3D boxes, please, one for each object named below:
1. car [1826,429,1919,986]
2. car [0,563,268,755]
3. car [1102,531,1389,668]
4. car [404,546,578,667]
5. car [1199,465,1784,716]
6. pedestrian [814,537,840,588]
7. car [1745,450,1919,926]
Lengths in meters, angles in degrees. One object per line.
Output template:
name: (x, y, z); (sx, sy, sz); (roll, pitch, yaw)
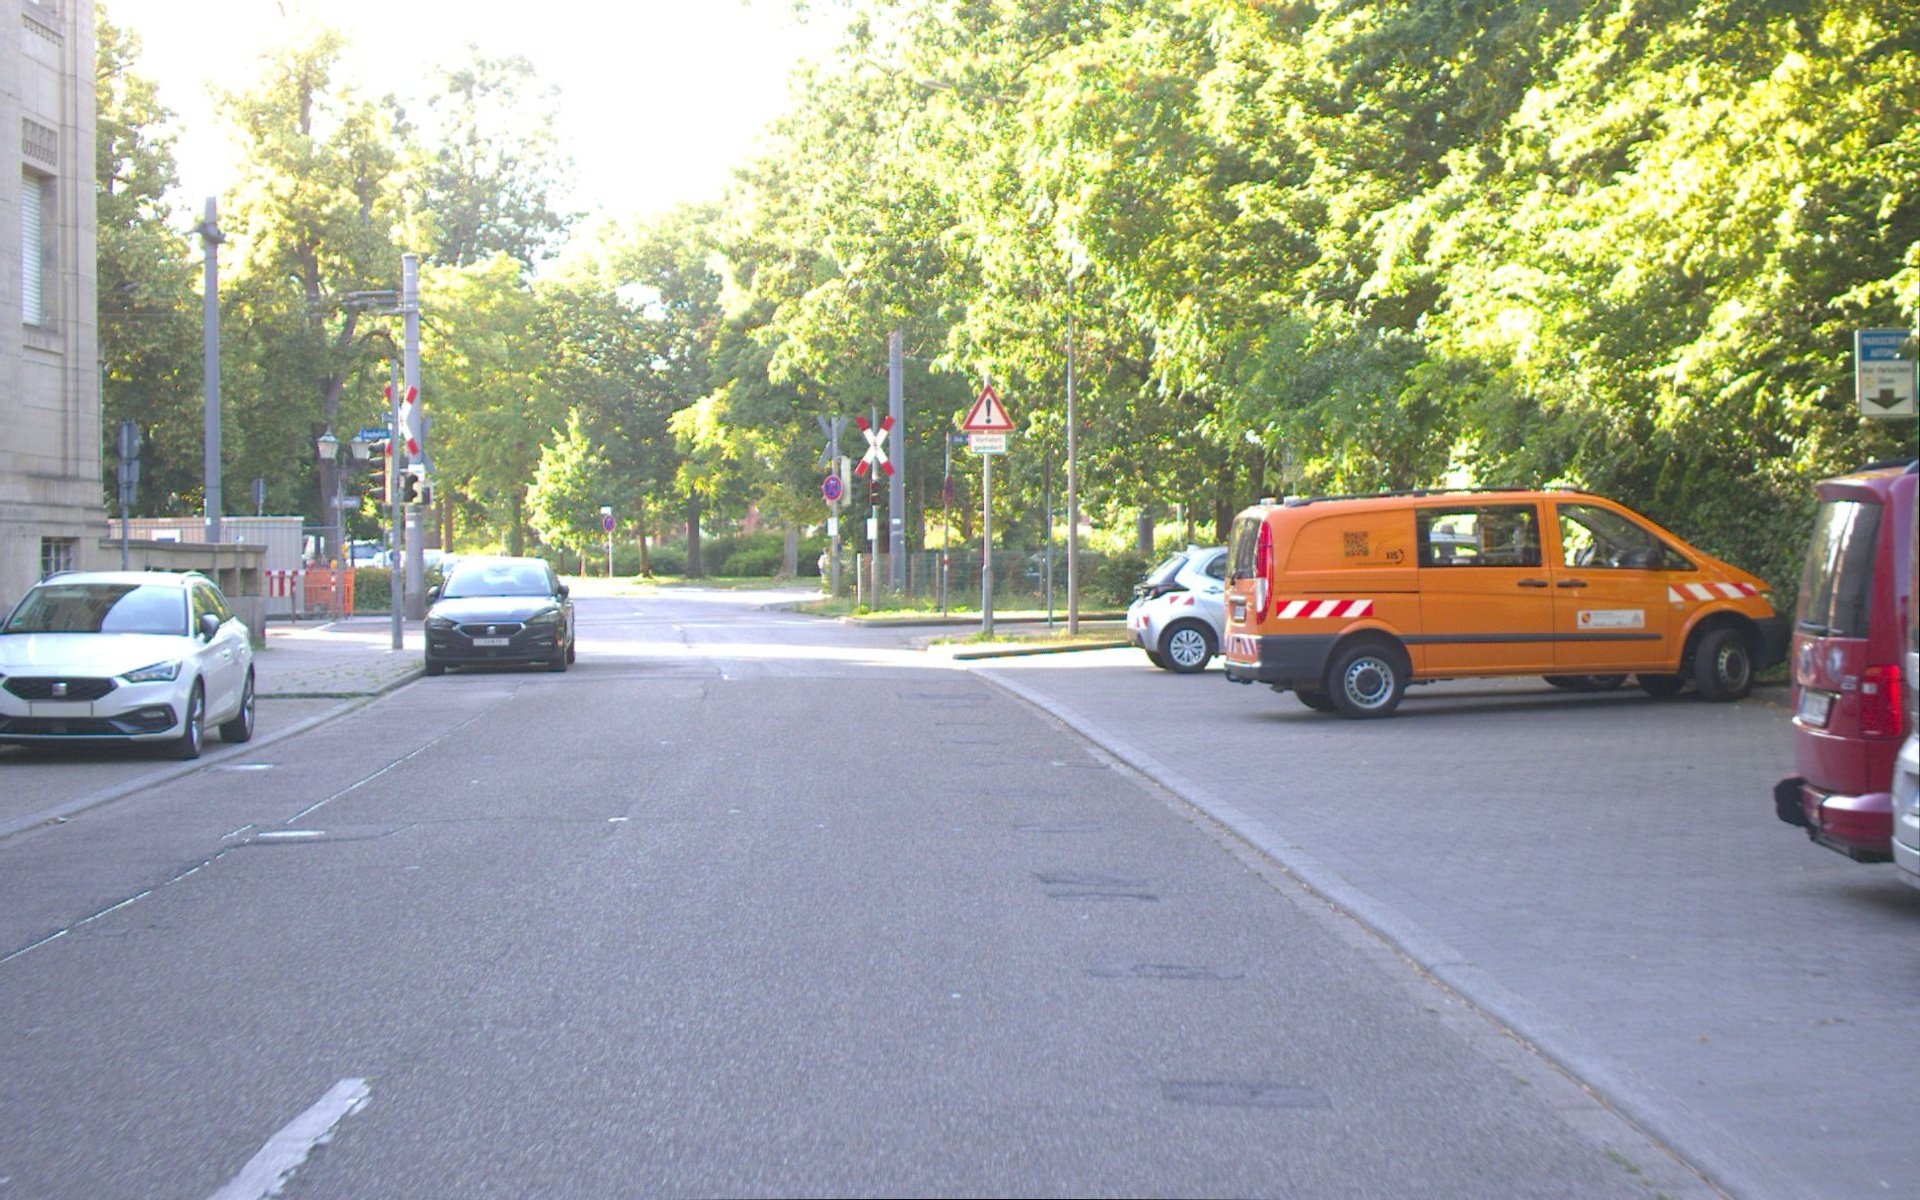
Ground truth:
car: (5.293, 0.299, 11.547); (4.229, 1.853, 2.000); (-2, 0, 1)
car: (-6.758, 0.414, 27.630); (1.727, 1.392, 4.374); (0, 1, -3)
car: (3.415, -0.025, 41.387); (3.143, 1.498, 1.541); (-2, 1, -6)
car: (-6.033, 0.043, 44.655); (1.878, 1.461, 4.374); (0, 1, -3)
car: (4.724, -0.107, 30.876); (4.817, 2.007, 1.802); (-2, 1, -6)
pedestrian: (-4.505, -1.271, 116.328); (0.826, 1.715, 0.874); (0, -1, 2)
car: (5.420, 0.272, 14.047); (4.024, 1.829, 1.614); (-2, 1, 1)
